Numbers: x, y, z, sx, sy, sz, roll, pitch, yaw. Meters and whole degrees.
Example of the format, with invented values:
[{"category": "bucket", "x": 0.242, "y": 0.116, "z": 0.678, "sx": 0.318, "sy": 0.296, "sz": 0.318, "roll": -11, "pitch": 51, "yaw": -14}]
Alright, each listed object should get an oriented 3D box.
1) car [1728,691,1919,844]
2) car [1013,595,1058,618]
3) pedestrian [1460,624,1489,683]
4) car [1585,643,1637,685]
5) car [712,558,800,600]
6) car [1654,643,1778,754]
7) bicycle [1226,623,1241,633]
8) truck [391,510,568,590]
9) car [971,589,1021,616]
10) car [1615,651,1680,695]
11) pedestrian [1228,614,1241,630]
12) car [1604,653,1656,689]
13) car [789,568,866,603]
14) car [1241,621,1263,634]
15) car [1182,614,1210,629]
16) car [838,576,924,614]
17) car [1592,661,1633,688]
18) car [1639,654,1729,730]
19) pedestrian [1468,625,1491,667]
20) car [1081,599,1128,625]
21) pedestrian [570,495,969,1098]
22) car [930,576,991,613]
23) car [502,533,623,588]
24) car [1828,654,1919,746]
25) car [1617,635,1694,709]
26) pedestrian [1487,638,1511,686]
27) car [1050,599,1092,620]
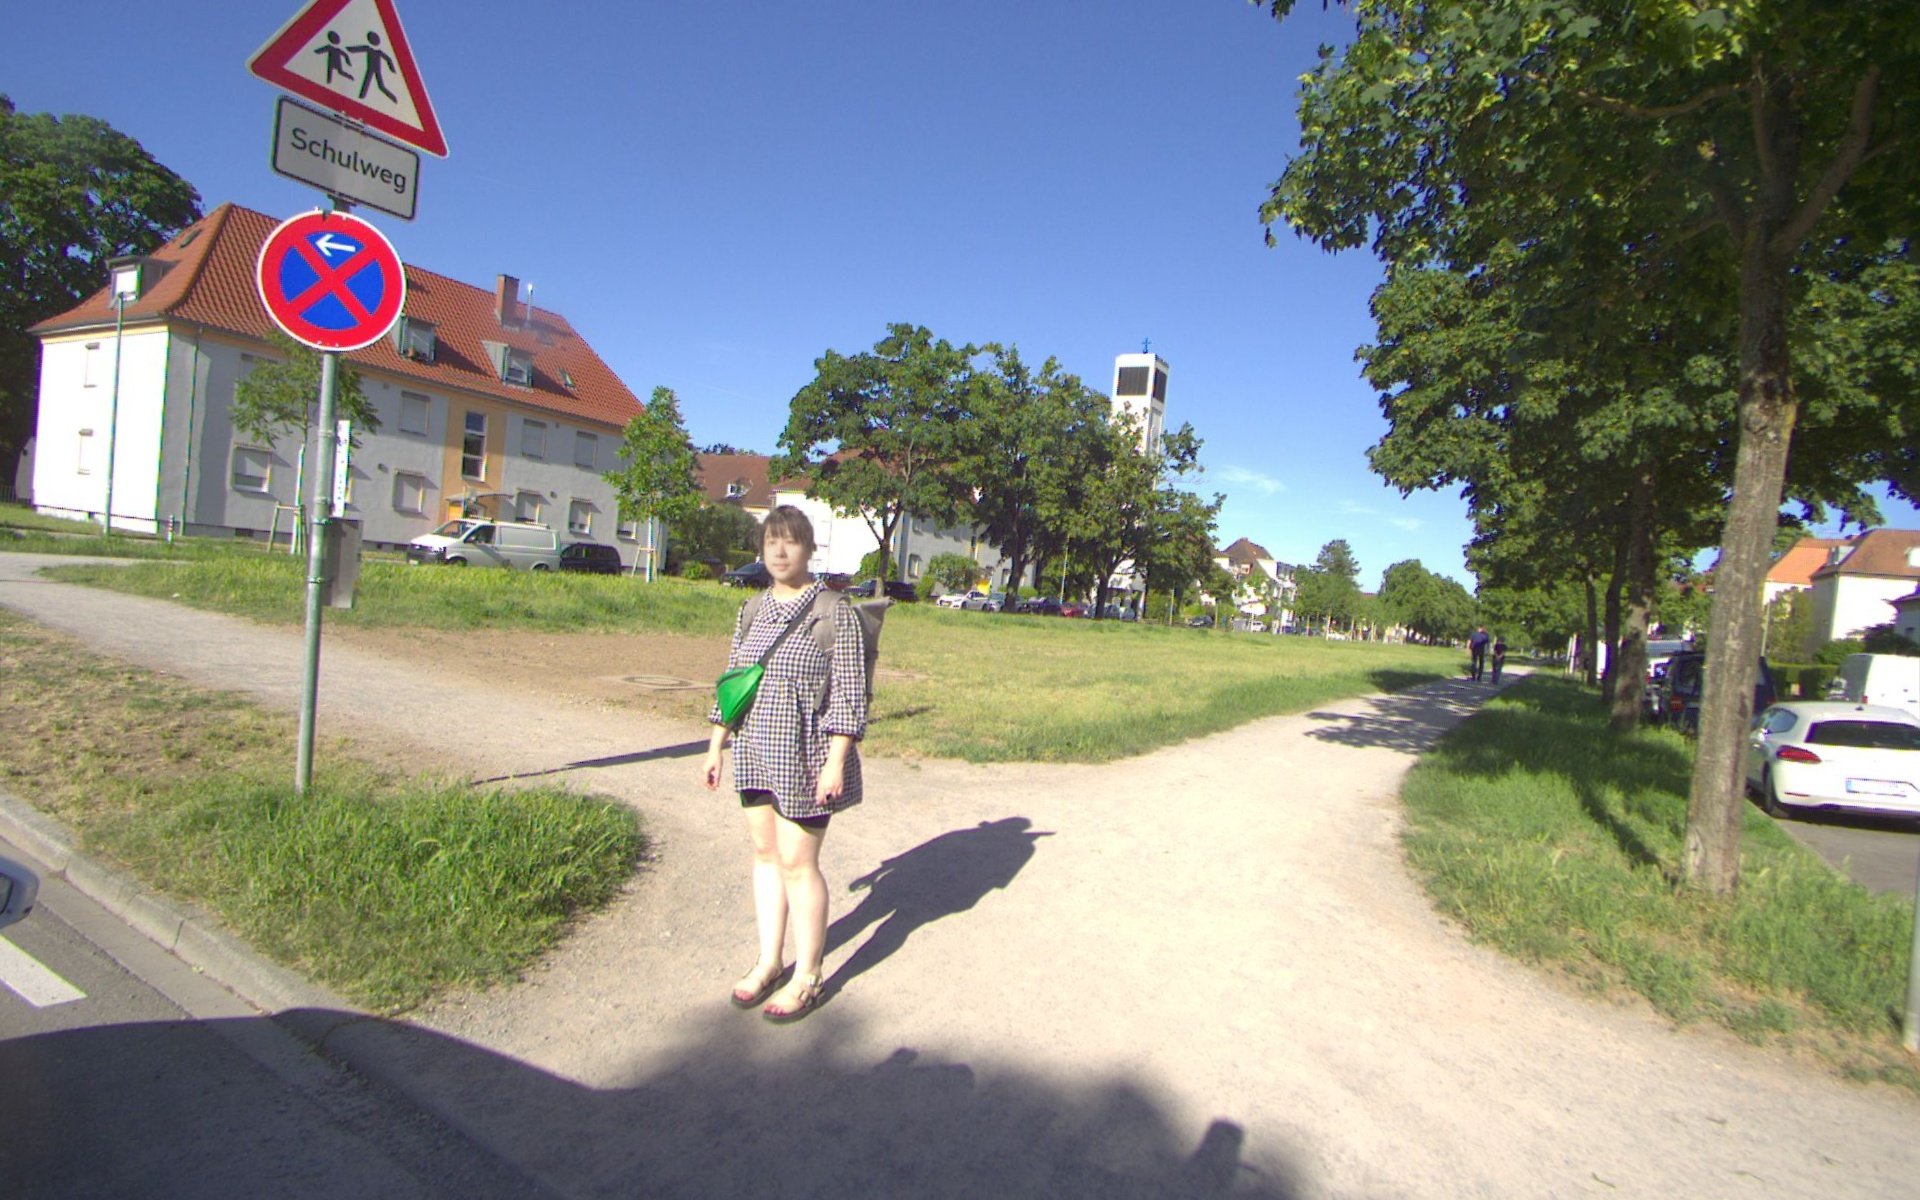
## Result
[{"category": "car", "x": 11.186, "y": 2.013, "z": 12.848, "sx": 1.712, "sy": 1.450, "sz": 3.984, "roll": 2, "pitch": -1, "yaw": 31}, {"category": "car", "x": 5.610, "y": 0.483, "z": 74.233, "sx": 1.693, "sy": 1.359, "sz": 3.799, "roll": 7, "pitch": 1, "yaw": 31}, {"category": "pedestrian", "x": 17.127, "y": 1.775, "z": 33.459, "sx": 0.633, "sy": 1.901, "sz": 0.627, "roll": 7, "pitch": 2, "yaw": 30}, {"category": "car", "x": 43.006, "y": 4.206, "z": 66.562, "sx": 2.509, "sy": 2.364, "sz": 5.902, "roll": 7, "pitch": 1, "yaw": 32}, {"category": "car", "x": -9.730, "y": -0.975, "z": 48.211, "sx": 1.693, "sy": 1.603, "sz": 4.129, "roll": 7, "pitch": 1, "yaw": 31}, {"category": "car", "x": 16.424, "y": 2.060, "z": 22.022, "sx": 1.756, "sy": 2.109, "sz": 3.983, "roll": 2, "pitch": -1, "yaw": 32}, {"category": "bicycle", "x": 30.254, "y": 3.125, "z": 111.225, "sx": 1.036, "sy": 0.949, "sz": 2.759, "roll": 7, "pitch": 1, "yaw": 26}, {"category": "truck", "x": -15.613, "y": -1.574, "z": 32.968, "sx": 1.966, "sy": 2.062, "sz": 4.861, "roll": 7, "pitch": 1, "yaw": 31}, {"category": "car", "x": 2.509, "y": 0.184, "z": 69.357, "sx": 1.693, "sy": 1.518, "sz": 3.799, "roll": 7, "pitch": 1, "yaw": 31}, {"category": "car", "x": 30.463, "y": 3.209, "z": 44.662, "sx": 2.051, "sy": 1.619, "sz": 4.275, "roll": 7, "pitch": 1, "yaw": 32}, {"category": "pedestrian", "x": 30.373, "y": 2.430, "z": 111.289, "sx": 1.036, "sy": 1.732, "sz": 0.692, "roll": 7, "pitch": 2, "yaw": 27}, {"category": "car", "x": 35.984, "y": 3.796, "z": 54.090, "sx": 2.051, "sy": 1.619, "sz": 4.275, "roll": 7, "pitch": 1, "yaw": 32}, {"category": "car", "x": -6.963, "y": -0.756, "z": 53.202, "sx": 1.693, "sy": 1.460, "sz": 4.129, "roll": 7, "pitch": 1, "yaw": 31}, {"category": "car", "x": 37.098, "y": 3.524, "z": 127.853, "sx": 1.693, "sy": 1.359, "sz": 3.799, "roll": 7, "pitch": 1, "yaw": 31}, {"category": "car", "x": 25.347, "y": 2.336, "z": 107.827, "sx": 1.693, "sy": 1.359, "sz": 3.799, "roll": 7, "pitch": 1, "yaw": 31}, {"category": "car", "x": -3.973, "y": -0.220, "z": 51.367, "sx": 1.966, "sy": 1.544, "sz": 4.744, "roll": 7, "pitch": 1, "yaw": 30}, {"category": "car", "x": 39.696, "y": 4.508, "z": 61.258, "sx": 1.903, "sy": 1.362, "sz": 4.098, "roll": 7, "pitch": 1, "yaw": 32}, {"category": "car", "x": 20.713, "y": 2.570, "z": 28.926, "sx": 1.847, "sy": 1.907, "sz": 4.409, "roll": 2, "pitch": -1, "yaw": 34}, {"category": "pedestrian", "x": 24.632, "y": 2.199, "z": 47.706, "sx": 0.712, "sy": 1.901, "sz": 0.627, "roll": 7, "pitch": 2, "yaw": 30}, {"category": "car", "x": 11.018, "y": 0.918, "z": 76.384, "sx": 1.857, "sy": 1.629, "sz": 4.235, "roll": 7, "pitch": 1, "yaw": 32}, {"category": "pedestrian", "x": -0.601, "y": 0.540, "z": 3.499, "sx": 0.896, "sy": 1.699, "sz": 1.088, "roll": 6, "pitch": 6, "yaw": 14}, {"category": "car", "x": 0.079, "y": -0.320, "z": 65.128, "sx": 1.841, "sy": 2.040, "sz": 4.244, "roll": 7, "pitch": 1, "yaw": 31}, {"category": "car", "x": -15.317, "y": -1.492, "z": 38.965, "sx": 1.693, "sy": 1.686, "sz": 4.053, "roll": 7, "pitch": 1, "yaw": 31}, {"category": "car", "x": 29.127, "y": 3.097, "z": 31.650, "sx": 1.990, "sy": 2.581, "sz": 3.983, "roll": 5, "pitch": 1, "yaw": 32}, {"category": "car", "x": 26.830, "y": 2.737, "z": 38.941, "sx": 2.159, "sy": 2.616, "sz": 4.275, "roll": 2, "pitch": -1, "yaw": 32}, {"category": "pedestrian", "x": 17.673, "y": 2.031, "z": 32.981, "sx": 0.488, "sy": 1.525, "sz": 0.533, "roll": 7, "pitch": 2, "yaw": 31}, {"category": "car", "x": 8.778, "y": 0.768, "z": 79.121, "sx": 1.693, "sy": 1.359, "sz": 3.799, "roll": 7, "pitch": 1, "yaw": 31}]
